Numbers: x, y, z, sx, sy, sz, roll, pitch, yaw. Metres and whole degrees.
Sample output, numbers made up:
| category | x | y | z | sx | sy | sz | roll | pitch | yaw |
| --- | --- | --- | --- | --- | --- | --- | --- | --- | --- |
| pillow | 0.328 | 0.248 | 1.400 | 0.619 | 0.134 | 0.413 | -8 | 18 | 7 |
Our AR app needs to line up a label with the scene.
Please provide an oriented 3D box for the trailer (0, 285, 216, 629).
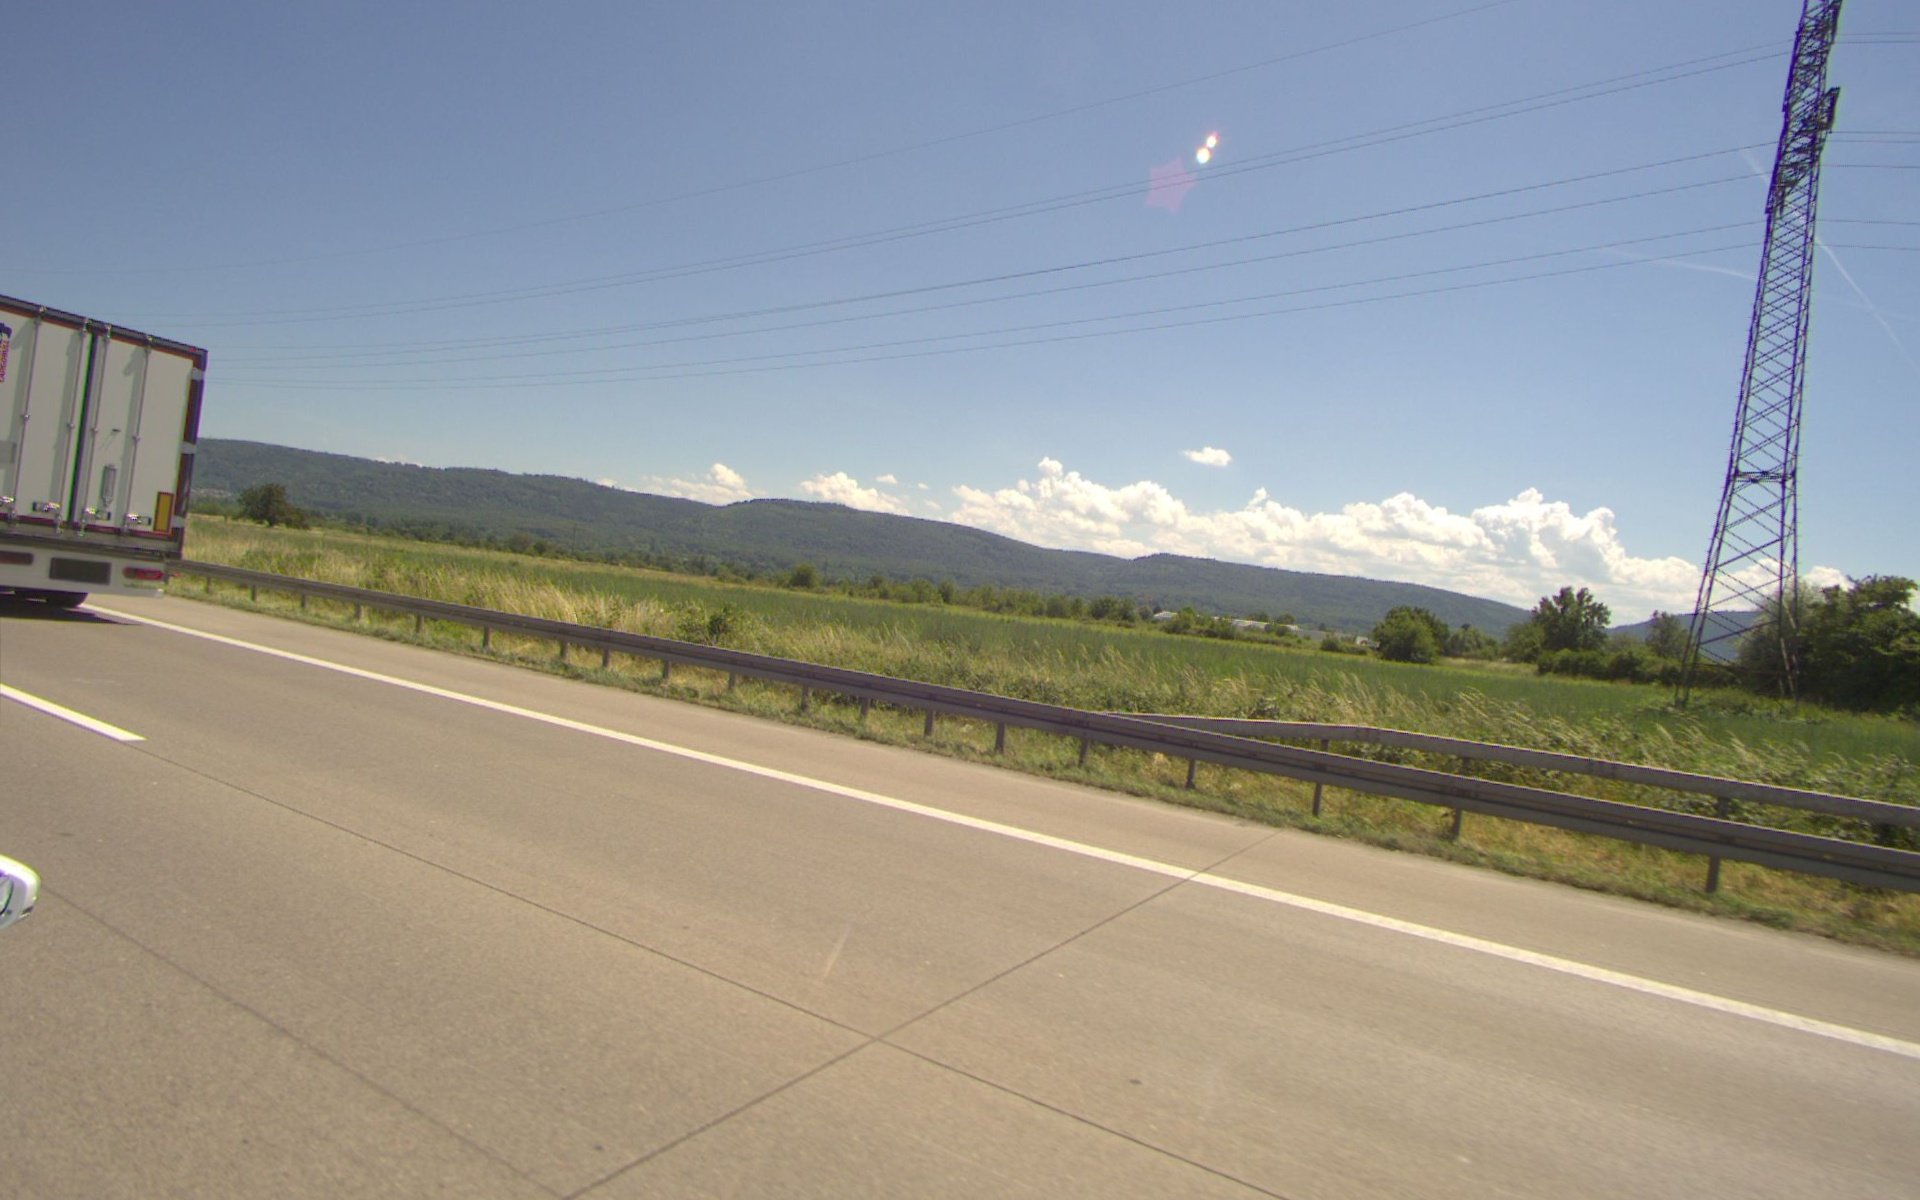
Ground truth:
| category | x | y | z | sx | sy | sz | roll | pitch | yaw |
| --- | --- | --- | --- | --- | --- | --- | --- | --- | --- |
| trailer | -17.018 | -2.348 | 16.480 | 12.685 | 4.091 | 2.714 | 6 | -1 | 31 |
